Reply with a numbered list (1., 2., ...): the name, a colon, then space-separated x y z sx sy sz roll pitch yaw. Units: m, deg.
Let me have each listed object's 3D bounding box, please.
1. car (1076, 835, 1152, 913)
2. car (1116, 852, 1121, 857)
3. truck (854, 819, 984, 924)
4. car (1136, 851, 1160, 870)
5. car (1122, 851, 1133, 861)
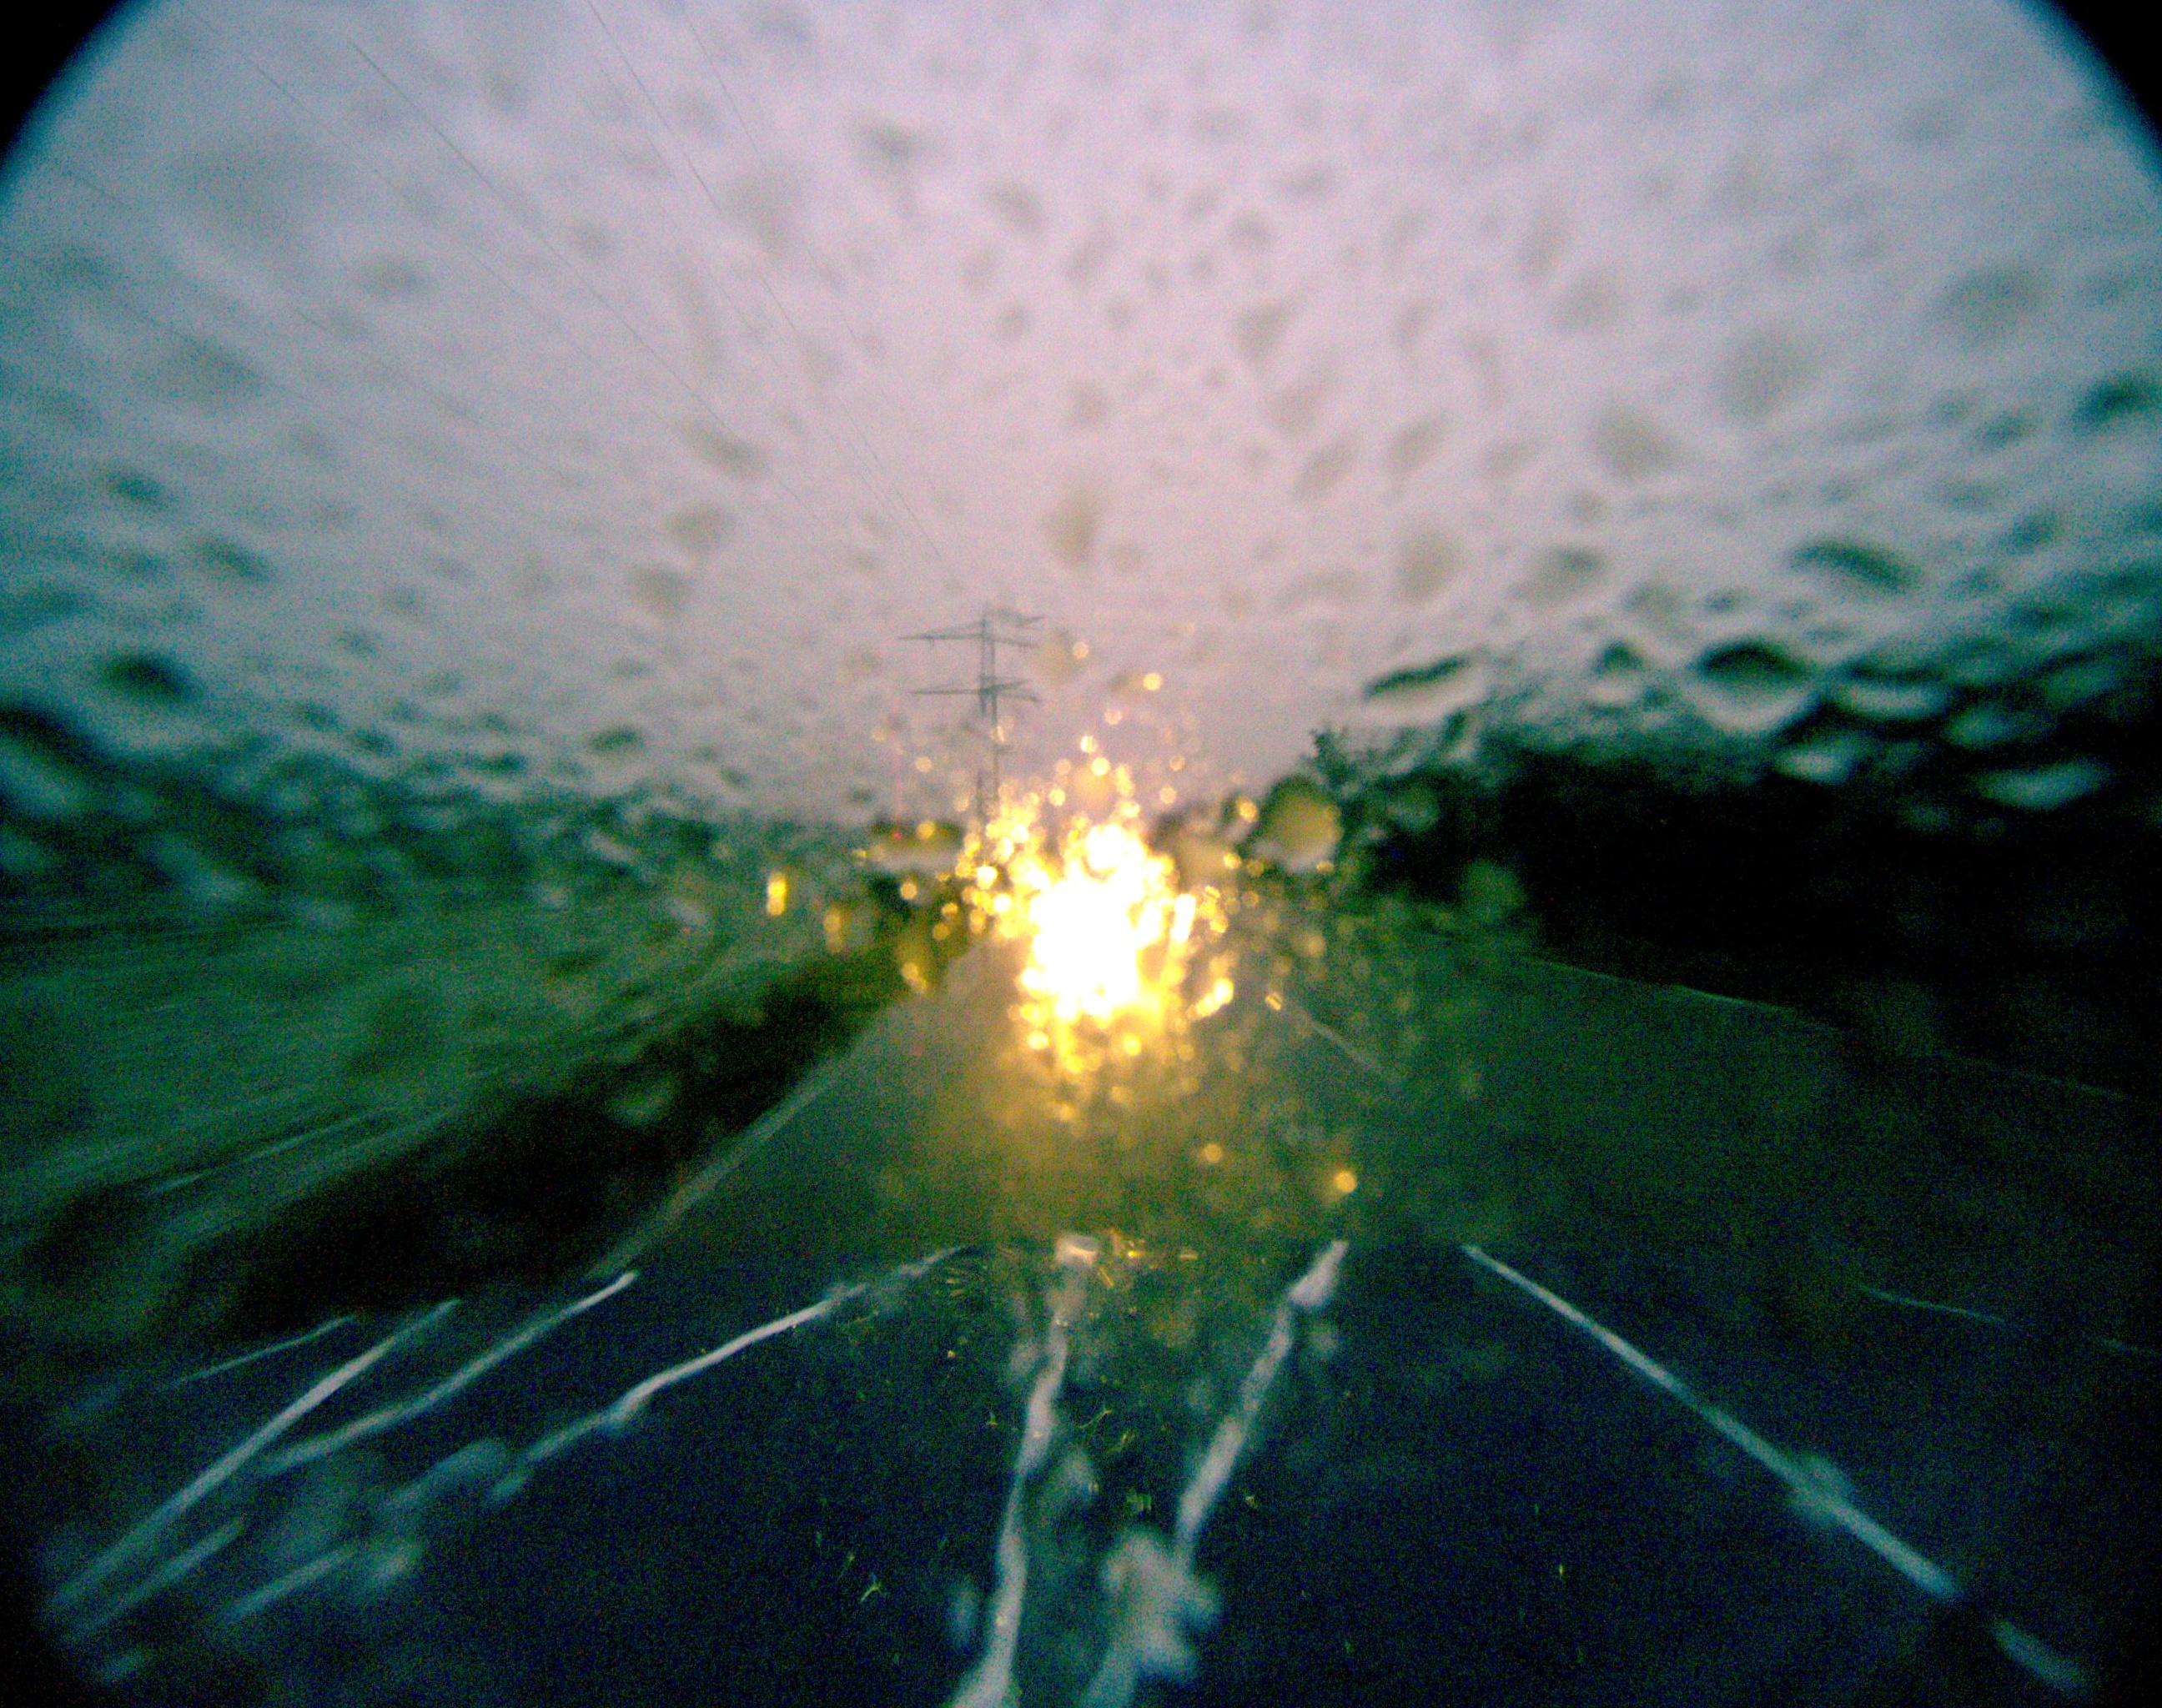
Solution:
1. car: 0.857 0.508 21.977 1.857 2.002 3.999 -2 1 -2
2. car: 12.216 0.063 246.353 1.739 1.604 4.212 -2 0 3
3. truck: -5.173 0.472 25.844 2.540 2.961 7.857 -2 1 1
4. car: 5.844 0.561 66.603 1.773 1.582 4.164 -2 0 1
5. car: 8.344 0.371 136.131 1.676 1.621 3.976 -2 0 1
